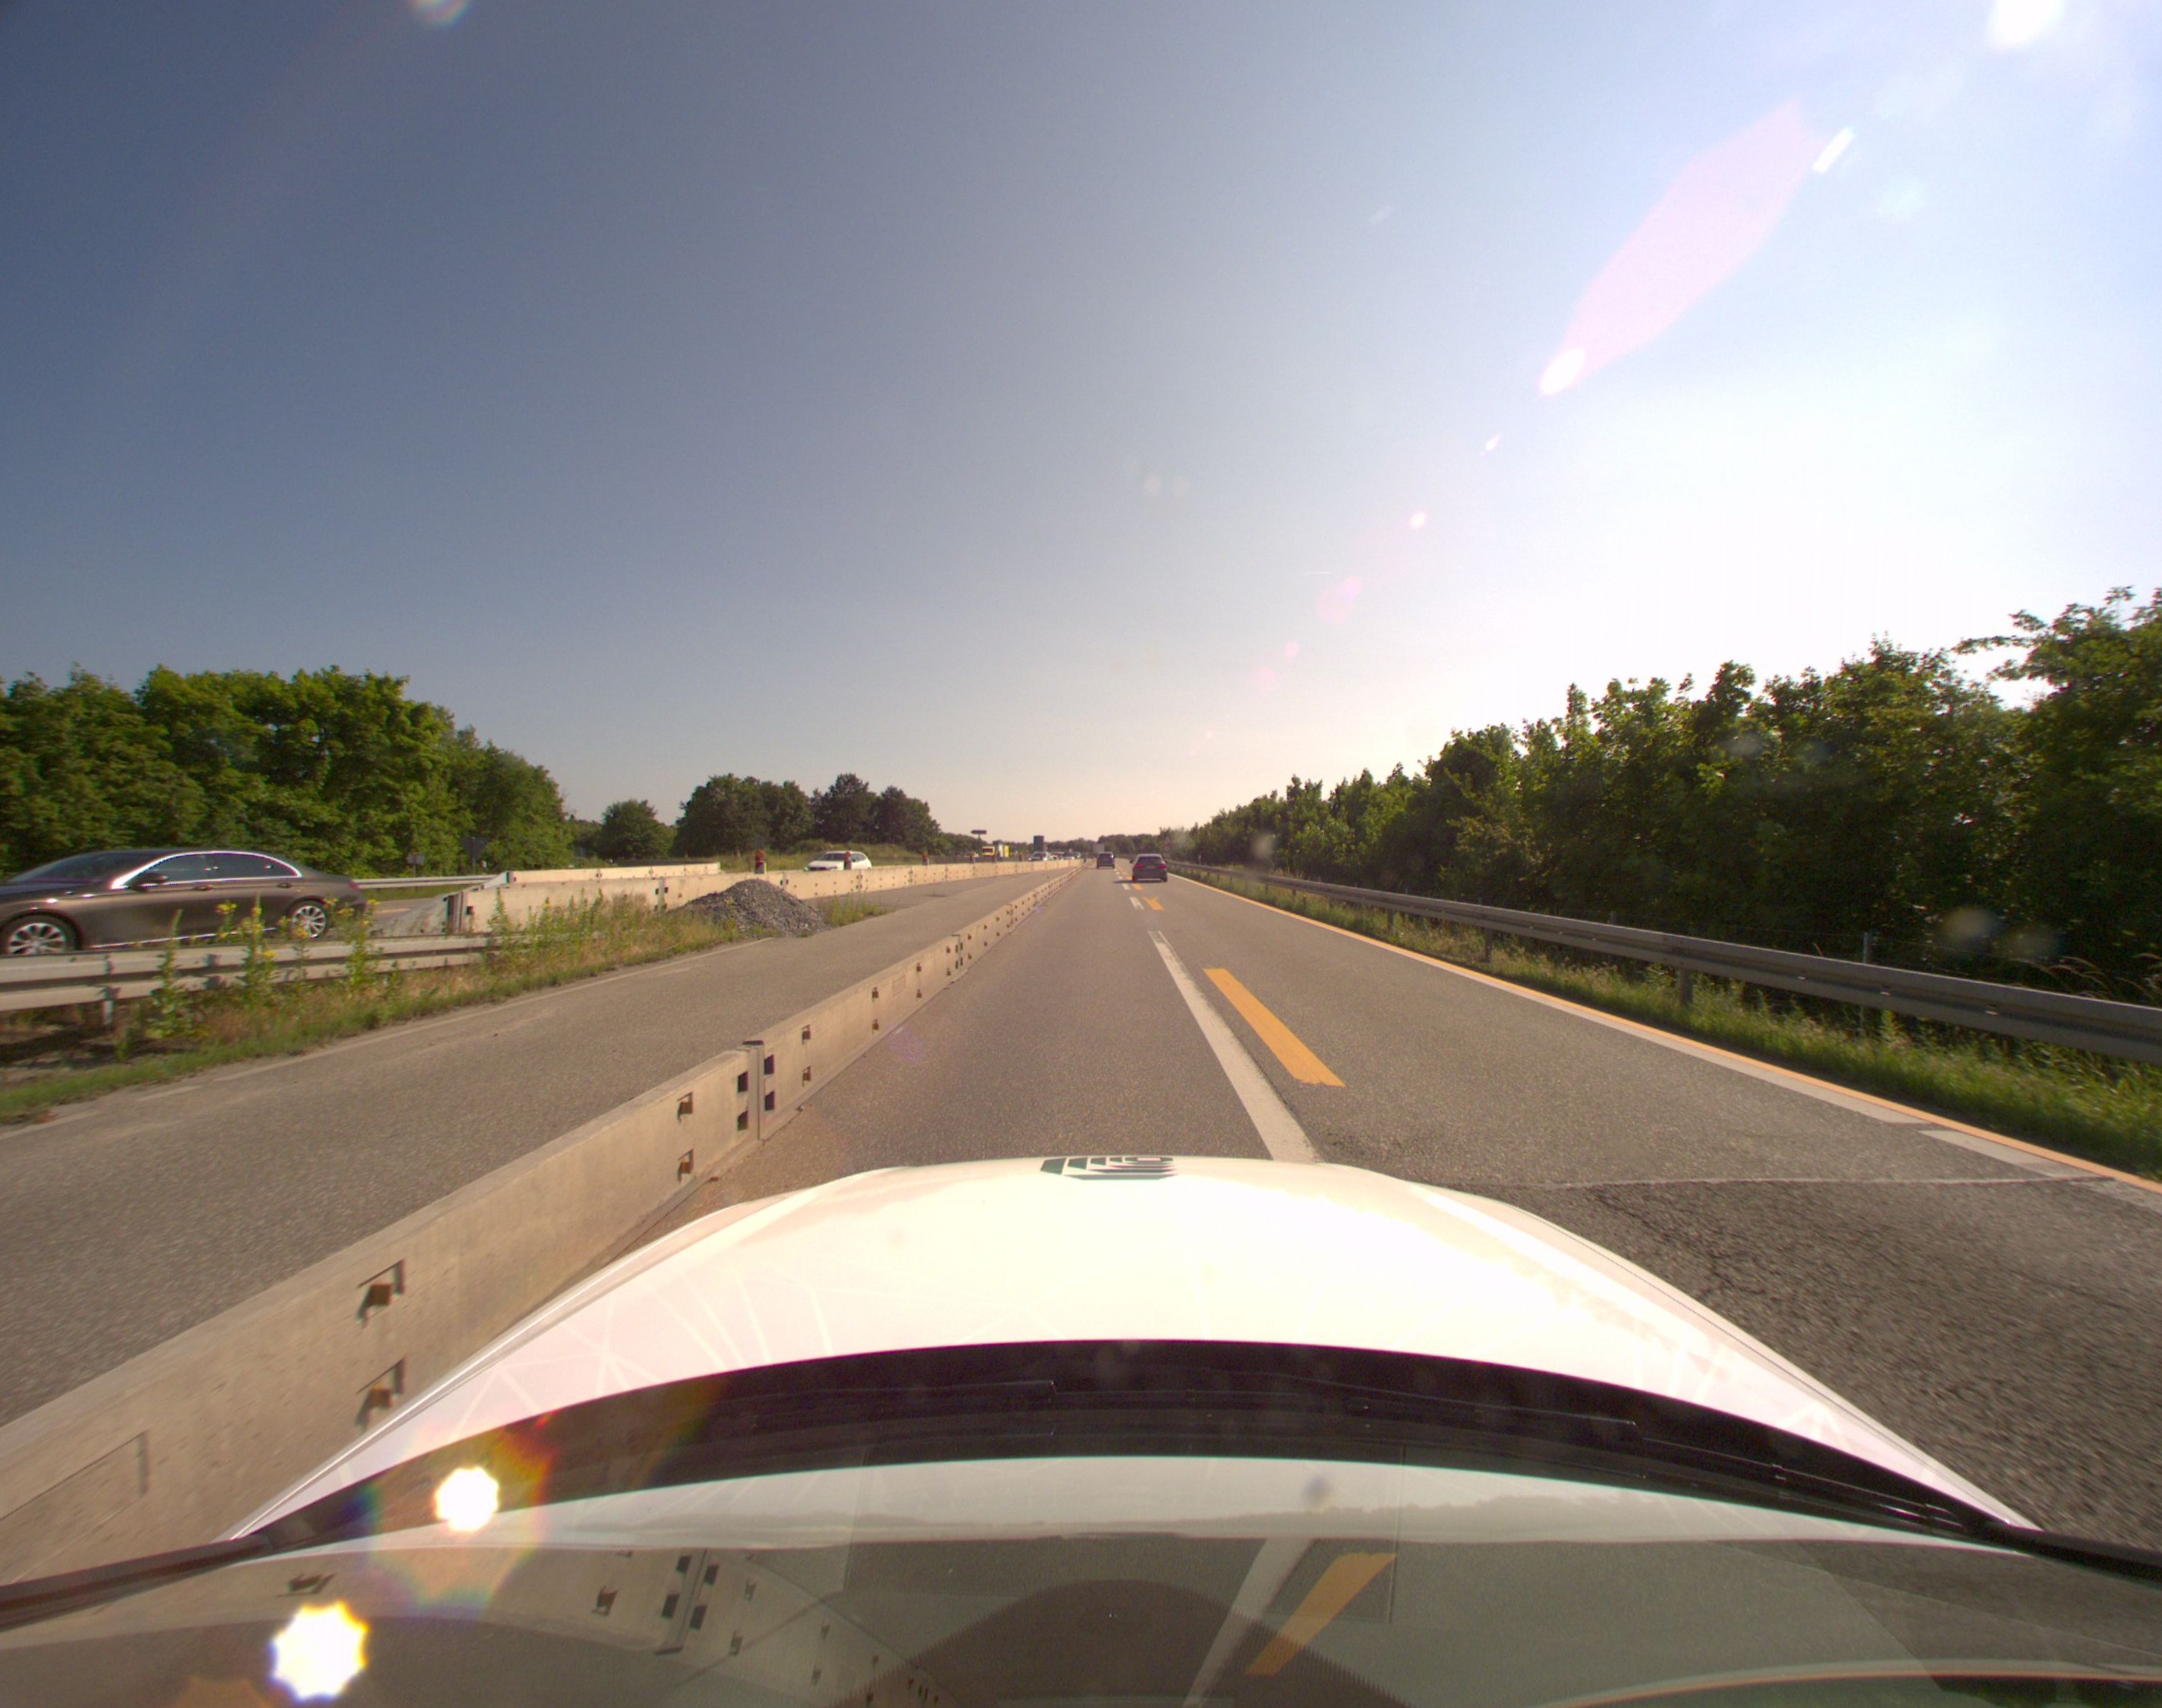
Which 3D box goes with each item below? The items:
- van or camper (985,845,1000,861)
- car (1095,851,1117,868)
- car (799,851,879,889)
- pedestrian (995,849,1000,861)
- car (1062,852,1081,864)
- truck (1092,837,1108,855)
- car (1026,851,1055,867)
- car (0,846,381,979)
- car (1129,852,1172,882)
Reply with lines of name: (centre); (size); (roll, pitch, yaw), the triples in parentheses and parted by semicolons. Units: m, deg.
van or camper: (-13.469, -0.190, 123.716); (1.990, 2.378, 6.192); (0, 0, -4)
car: (2.464, 0.550, 79.232); (1.986, 1.567, 4.003); (-1, 0, 2)
car: (-10.999, 0.682, 37.336); (1.807, 1.608, 4.448); (-1, 0, 7)
pedestrian: (-12.371, 0.104, 120.681); (0.741, 1.820, 0.794); (0, 0, -10)
car: (-1.111, 0.481, 100.500); (1.701, 1.515, 4.189); (0, 0, 9)
truck: (5.193, -2.179, 226.533); (3.750, 4.911, 14.130); (0, 0, -1)
car: (-4.014, 0.501, 81.635); (1.982, 1.515, 4.592); (0, 0, 9)
car: (-12.510, 0.647, 10.908); (1.831, 1.440, 4.819); (-1, 0, 4)
car: (3.584, 0.630, 42.629); (1.914, 1.494, 4.000); (0, 0, 0)
